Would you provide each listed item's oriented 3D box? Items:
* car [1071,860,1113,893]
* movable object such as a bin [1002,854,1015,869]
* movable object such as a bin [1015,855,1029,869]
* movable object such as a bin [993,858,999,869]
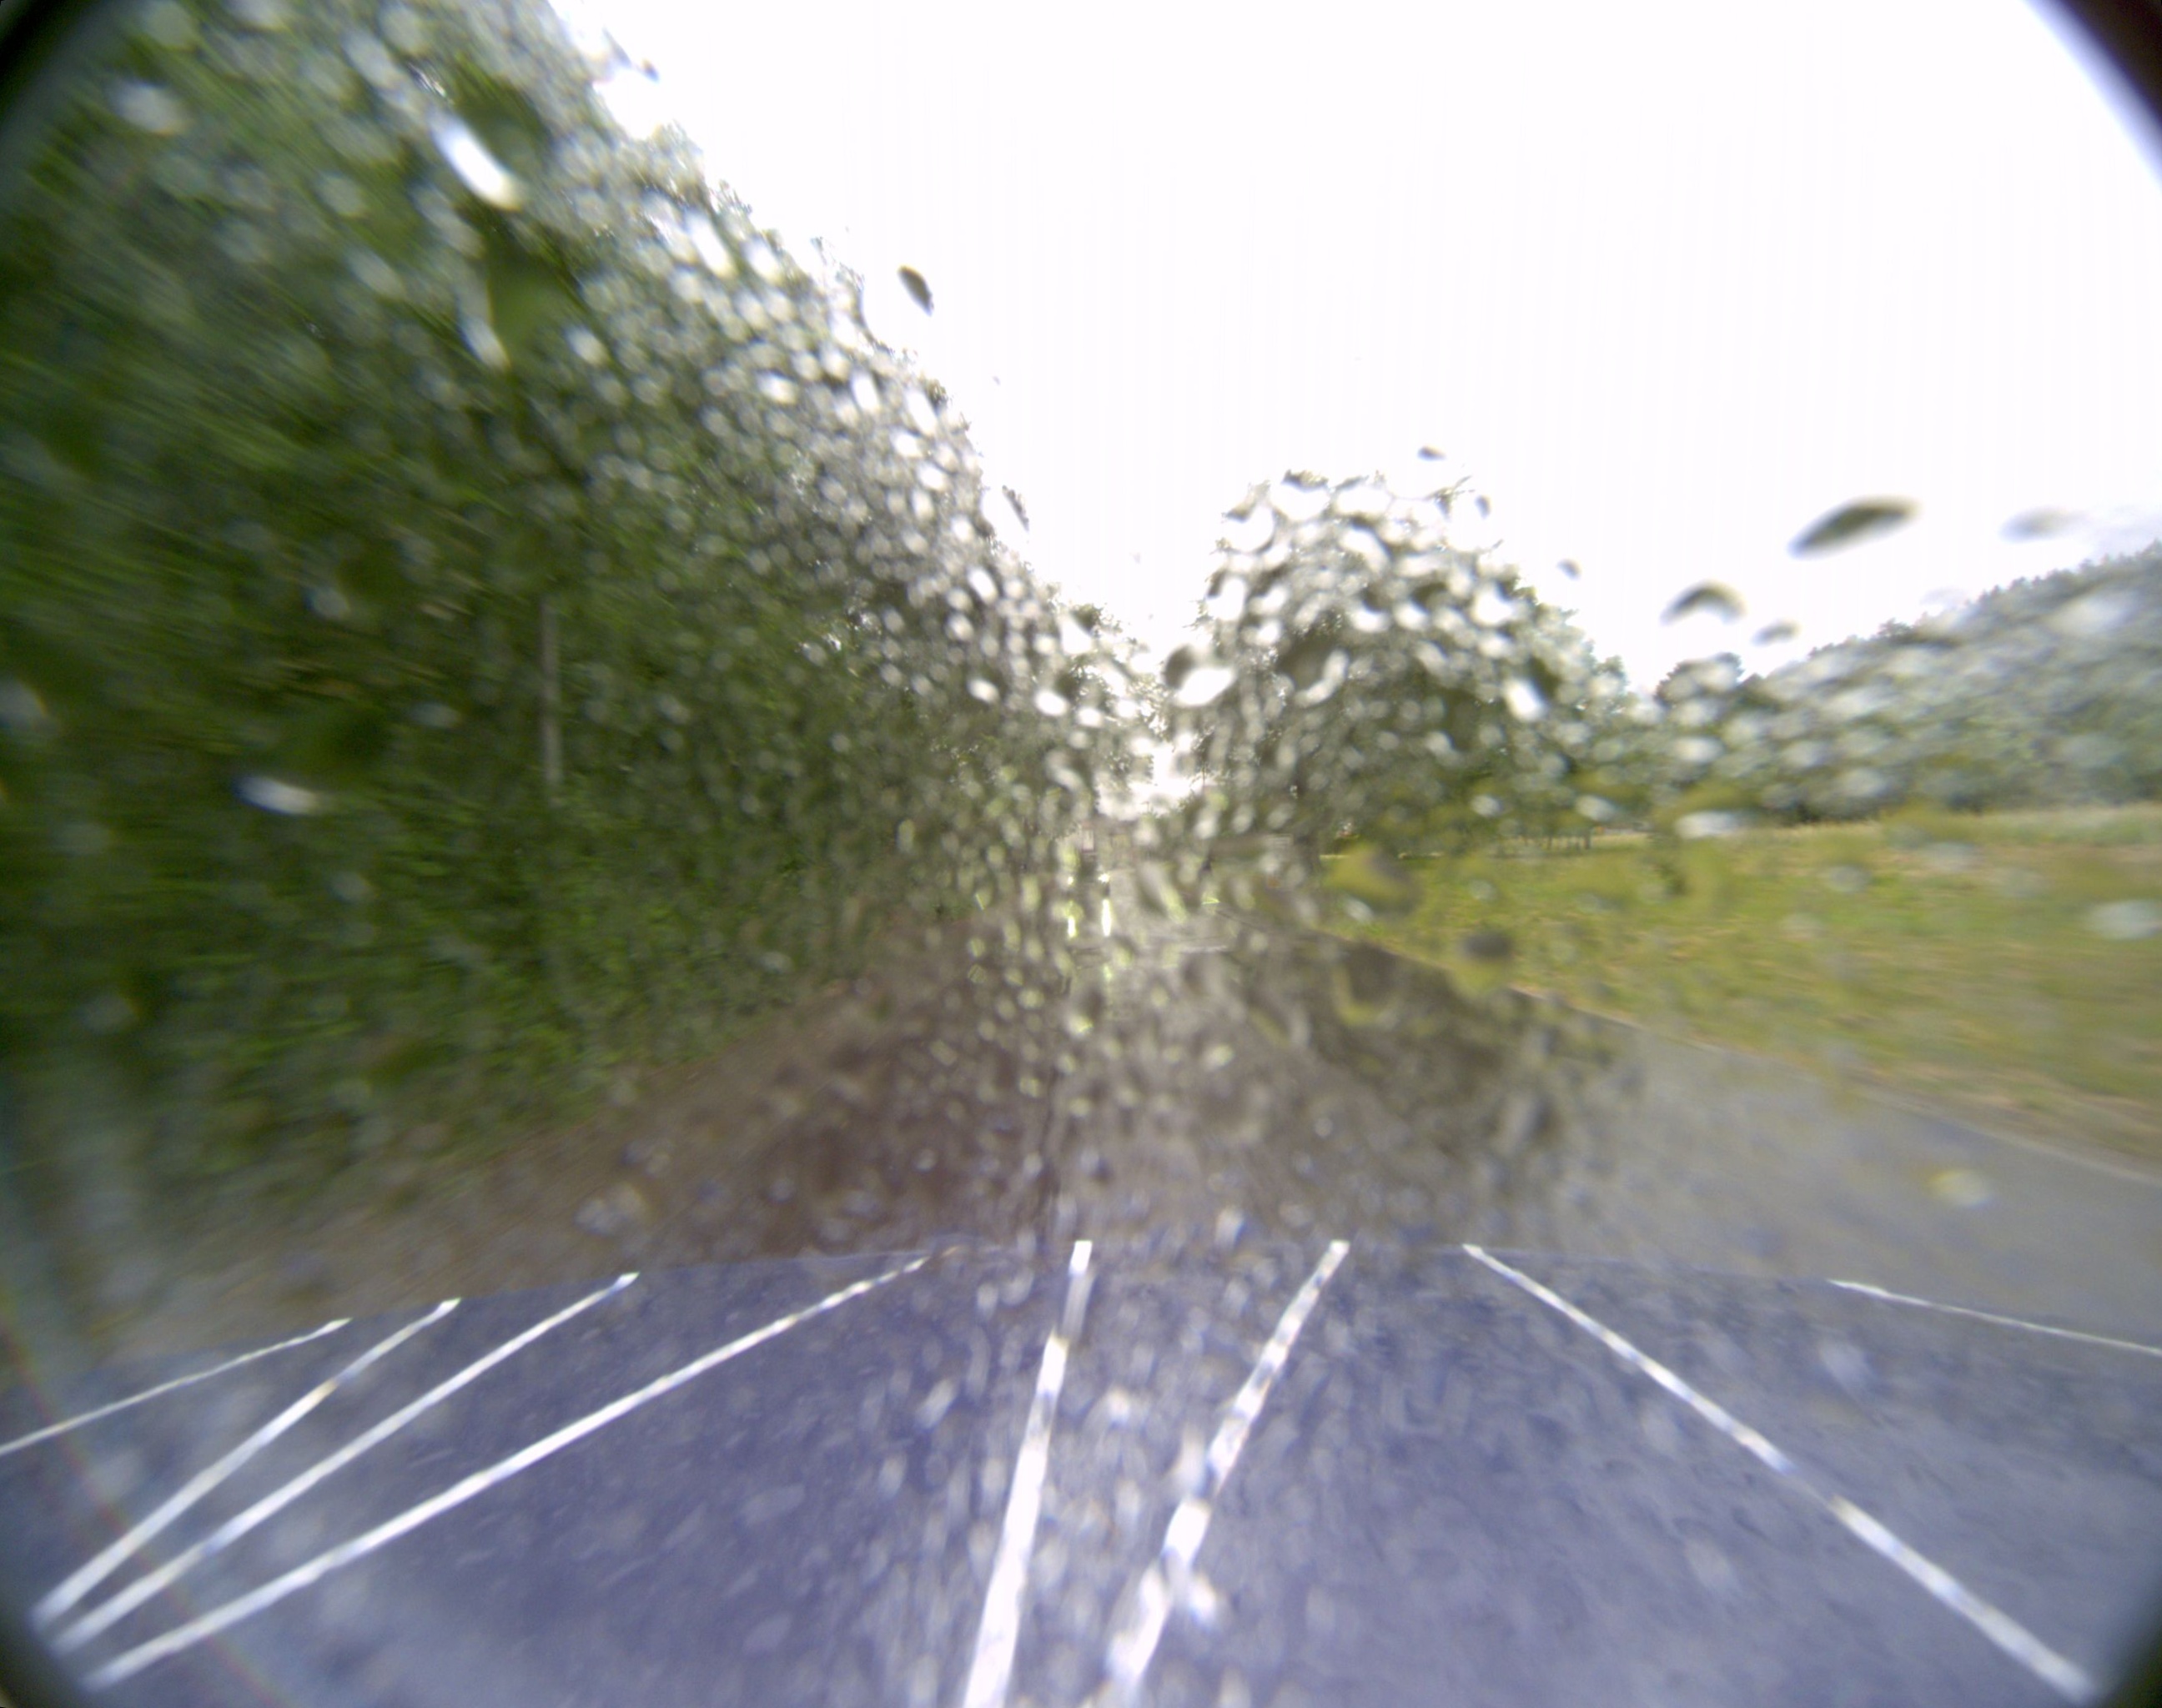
[{"bbox_3d":[0.442,0.987,33.551,1.667,1.290,3.518,-3,-1,-1],"label":"car"},{"bbox_3d":[-7.292,0.759,76.438,1.238,1.428,0.795,2,1,-1],"label":"movable object such as a bin"},{"bbox_3d":[-5.914,0.809,76.445,1.296,1.410,0.795,2,1,-1],"label":"movable object such as a bin"},{"bbox_3d":[-8.524,0.941,76.397,0.568,1.073,0.530,1,1,-1],"label":"movable object such as a bin"}]
